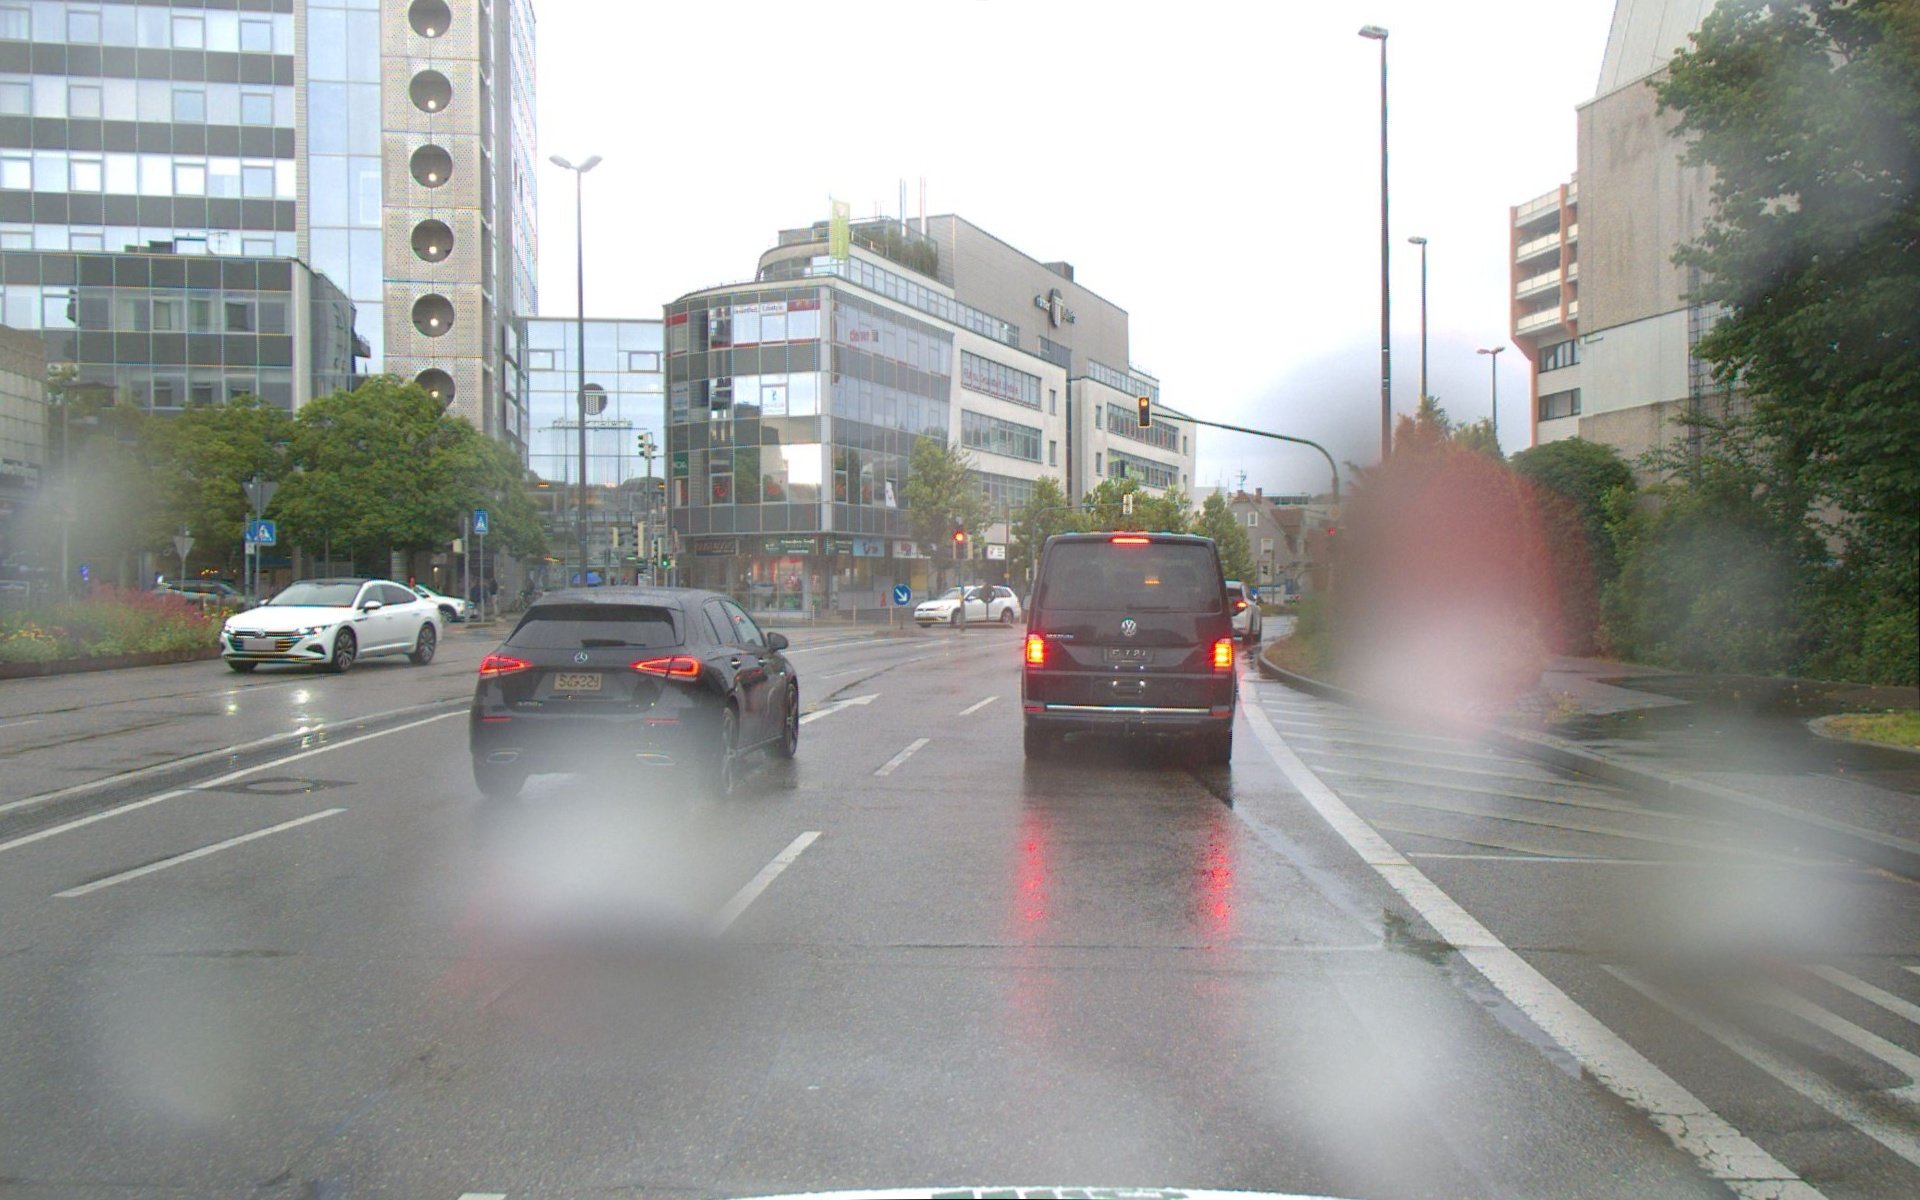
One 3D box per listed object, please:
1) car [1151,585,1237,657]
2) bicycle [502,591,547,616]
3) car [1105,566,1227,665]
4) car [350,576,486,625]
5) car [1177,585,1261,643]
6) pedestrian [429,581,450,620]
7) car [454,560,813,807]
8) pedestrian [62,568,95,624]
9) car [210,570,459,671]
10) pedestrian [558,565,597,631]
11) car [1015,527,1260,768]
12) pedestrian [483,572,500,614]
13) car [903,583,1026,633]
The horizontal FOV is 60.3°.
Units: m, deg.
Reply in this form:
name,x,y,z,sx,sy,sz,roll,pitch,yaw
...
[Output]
name,x,y,z,sx,sy,sz,roll,pitch,yaw
car,5.212,0.431,36.466,1.599,1.473,4.272,1,0,12
bicycle,-23.174,0.186,88.033,2.232,1.268,0.675,-1,0,-11
car,3.814,0.229,30.052,1.860,1.649,4.339,0,1,12
car,-18.749,0.002,57.329,4.108,1.623,1.869,1,0,-2
car,6.728,0.365,42.716,1.871,1.425,3.460,0,-1,14
pedestrian,-25.406,0.032,80.696,0.745,1.900,0.823,-1,0,-36
car,-2.298,0.498,12.674,1.777,1.556,3.814,2,1,3
pedestrian,-21.648,-0.100,40.613,0.486,1.371,0.536,0,0,27
car,-10.087,0.280,27.131,1.803,1.486,4.812,0,1,7
pedestrian,-12.107,-0.083,52.291,1.143,2.049,1.323,0,0,-16
car,1.683,0.373,15.673,1.953,1.927,4.590,0,0,6
pedestrian,-23.220,-0.343,82.004,0.749,2.049,0.712,0,0,-12
car,0.187,0.260,59.254,1.859,1.712,4.476,1,1,43
